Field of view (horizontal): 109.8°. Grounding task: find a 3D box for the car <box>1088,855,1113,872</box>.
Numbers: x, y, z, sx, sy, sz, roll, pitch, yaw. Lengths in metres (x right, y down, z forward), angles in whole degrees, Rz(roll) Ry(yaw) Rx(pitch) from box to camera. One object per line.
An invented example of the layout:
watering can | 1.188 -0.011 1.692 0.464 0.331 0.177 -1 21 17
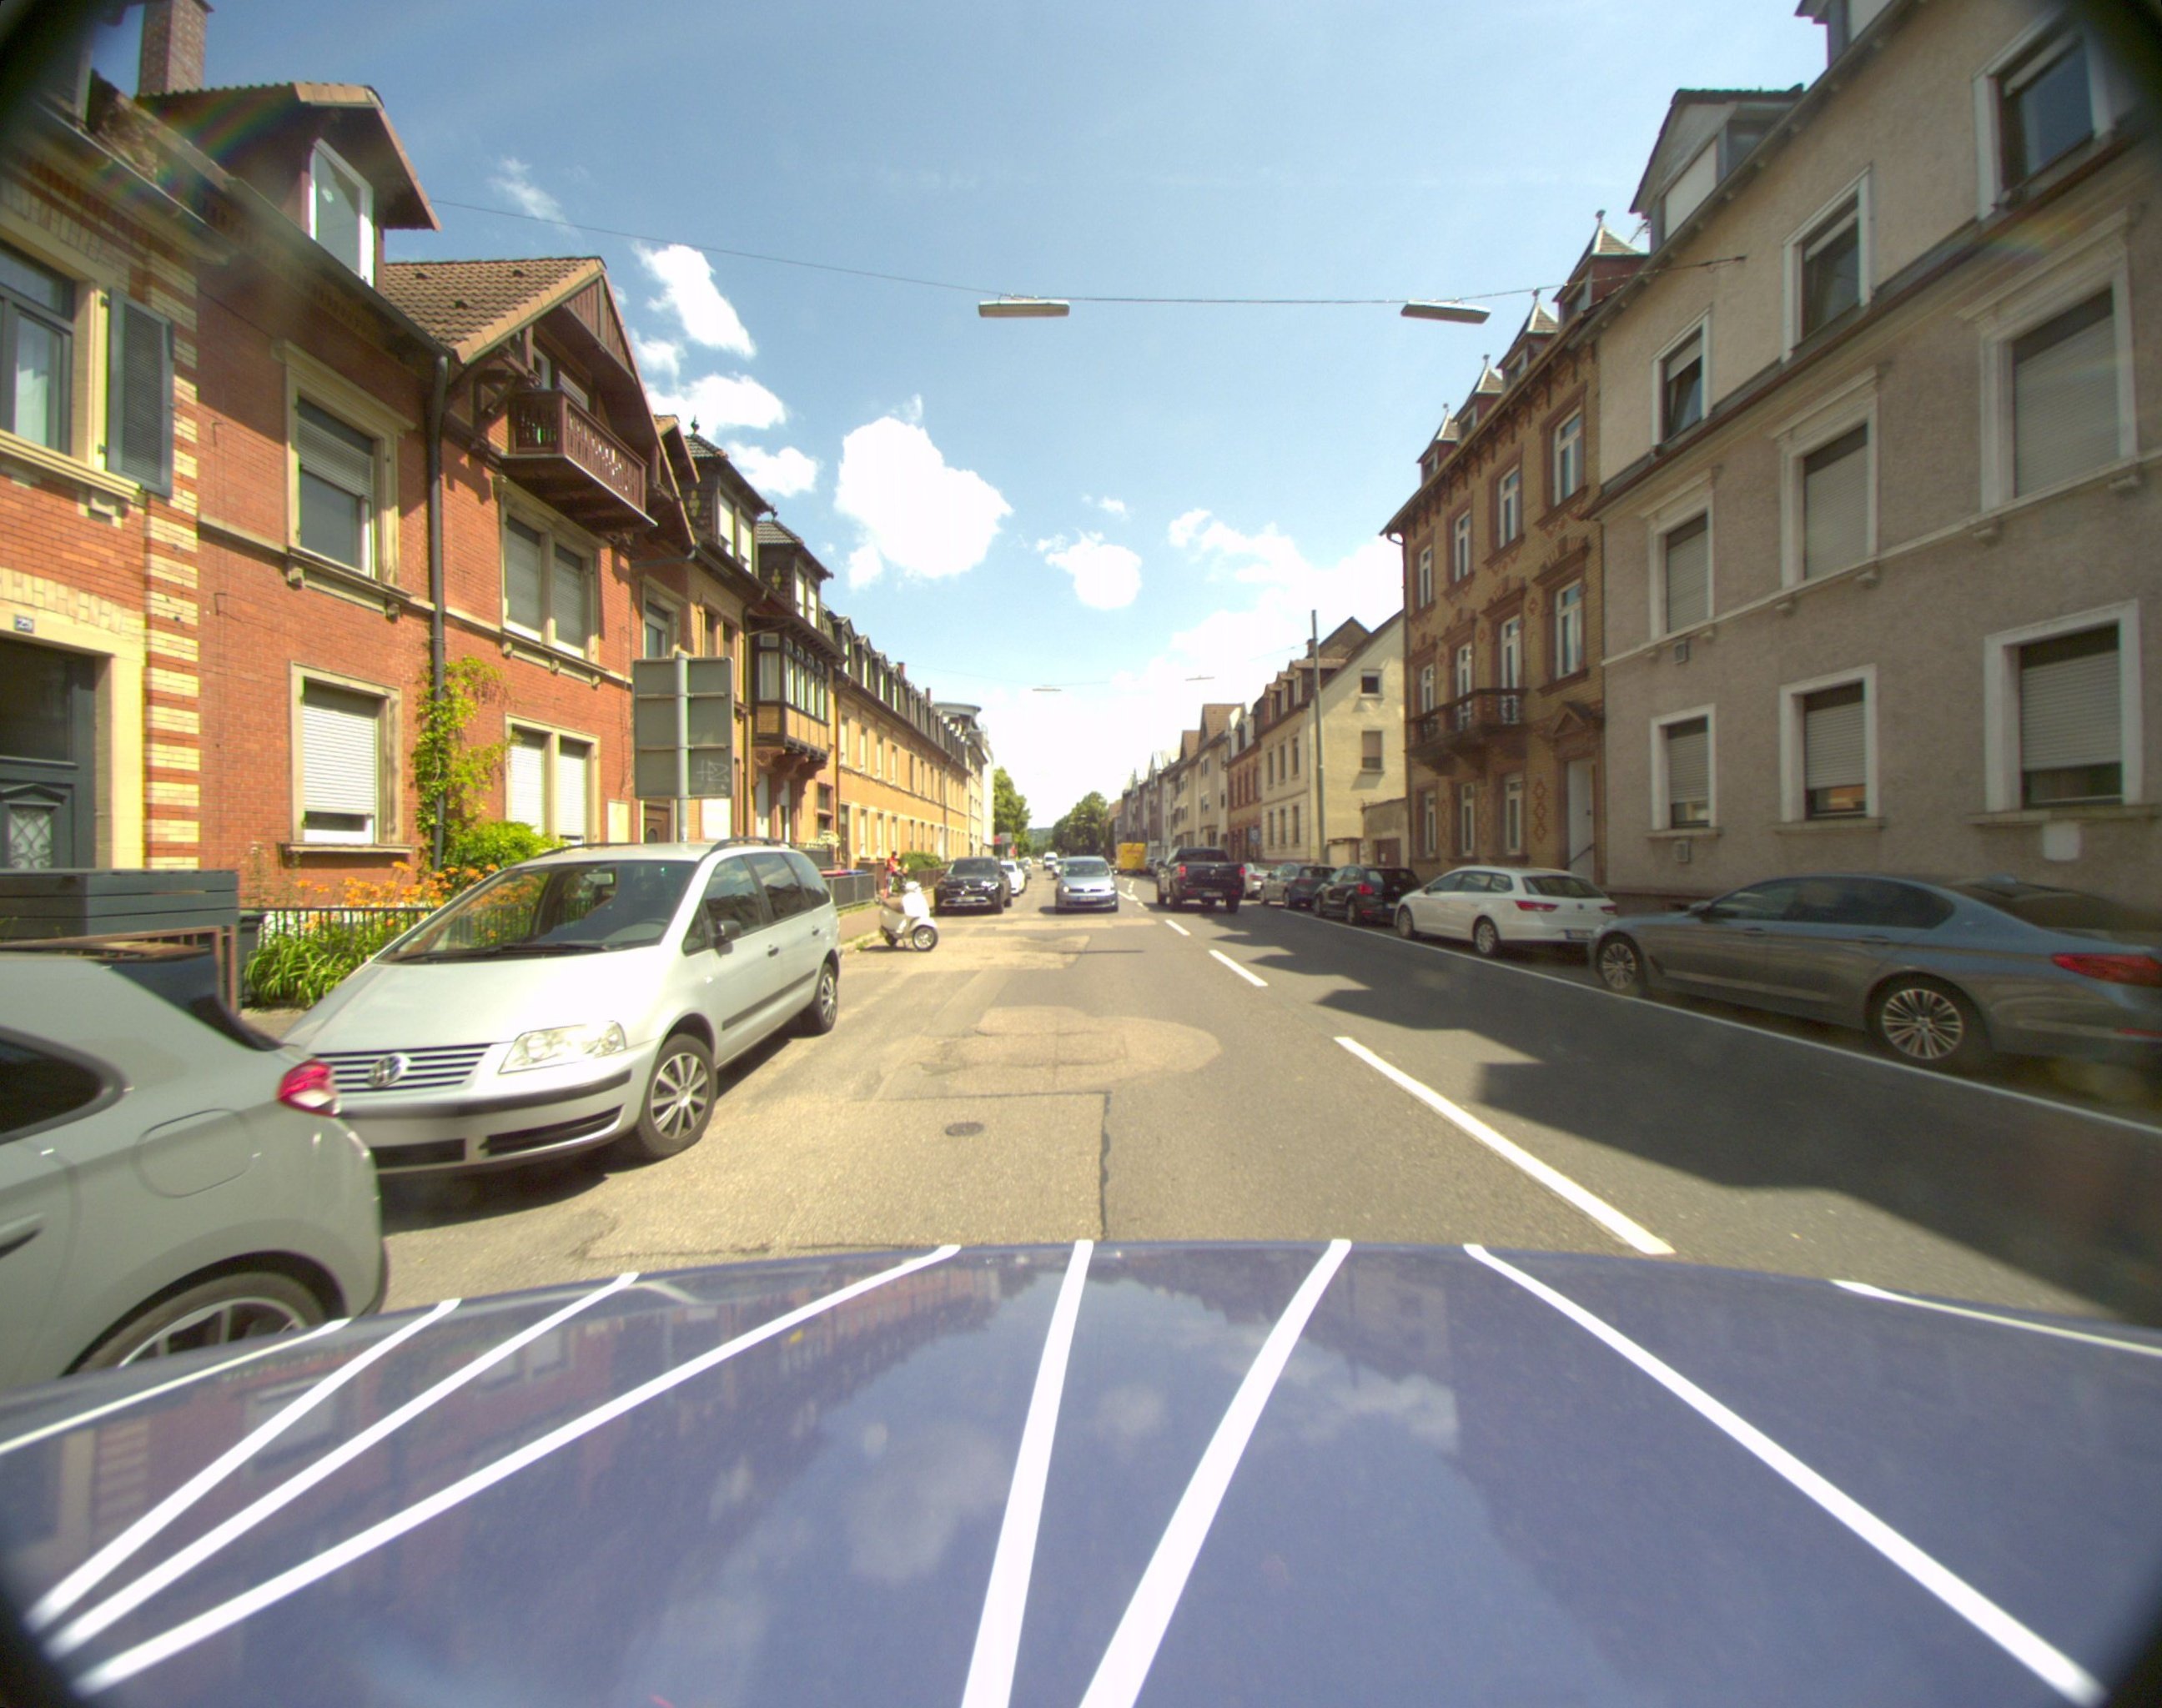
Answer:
car | 1.699 0.805 66.281 1.795 1.412 4.313 1 0 -3

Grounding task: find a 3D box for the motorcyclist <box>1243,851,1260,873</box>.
motorcyclist | 9.478 0.447 42.238 0.720 1.241 0.712 0 1 -2

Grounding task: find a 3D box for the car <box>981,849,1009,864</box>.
car | -14.838 0.446 130.695 4.615 2.263 2.105 -2 1 -3

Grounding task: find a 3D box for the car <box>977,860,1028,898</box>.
car | -3.247 1.001 32.122 1.721 1.406 4.588 0 0 -1

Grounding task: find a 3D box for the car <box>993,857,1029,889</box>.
car | -3.553 0.914 38.027 1.653 1.406 4.498 -1 1 -7

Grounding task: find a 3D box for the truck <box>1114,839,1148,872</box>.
truck | 4.421 0.148 68.178 2.231 2.755 7.561 1 0 -2

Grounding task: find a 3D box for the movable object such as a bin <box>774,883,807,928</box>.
movable object such as a bin | -6.289 1.100 16.465 0.482 0.935 0.526 0 1 0

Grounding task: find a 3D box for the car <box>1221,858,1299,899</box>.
car | 6.995 0.917 30.181 1.845 1.414 4.501 2 0 -2

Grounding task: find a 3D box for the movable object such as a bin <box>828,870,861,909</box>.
movable object such as a bin | -6.674 0.993 21.480 0.790 1.082 0.543 0 1 -4

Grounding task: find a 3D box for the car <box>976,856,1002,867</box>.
car | -13.227 1.065 109.134 3.775 1.657 1.662 0 0 -8

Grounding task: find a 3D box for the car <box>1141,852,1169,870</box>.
car | 6.880 0.620 70.712 1.845 1.586 4.384 -3 1 -4

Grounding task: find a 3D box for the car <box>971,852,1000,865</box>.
car | -13.339 0.613 106.457 3.999 1.740 2.015 -1 1 -5

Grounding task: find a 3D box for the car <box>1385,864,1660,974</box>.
car | 7.123 0.952 12.944 1.845 1.414 4.500 2 0 -3

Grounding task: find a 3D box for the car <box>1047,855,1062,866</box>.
car | -3.285 0.807 94.854 1.721 1.406 4.588 0 0 -1

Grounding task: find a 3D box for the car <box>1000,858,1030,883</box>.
car | -3.944 0.946 46.005 1.705 1.372 4.165 -1 1 -4

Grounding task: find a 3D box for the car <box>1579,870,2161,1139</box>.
car | 6.983 0.950 6.755 1.845 1.414 4.644 2 0 -3

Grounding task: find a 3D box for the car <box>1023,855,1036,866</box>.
car | -7.583 0.919 111.733 1.772 1.476 3.888 -1 1 -6

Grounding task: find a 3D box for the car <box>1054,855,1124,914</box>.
car | 0.131 0.814 22.309 1.747 1.513 4.221 0 0 -4

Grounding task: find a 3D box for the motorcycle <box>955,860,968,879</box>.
motorcycle | -7.734 0.988 49.207 0.597 1.218 1.361 0 1 -2

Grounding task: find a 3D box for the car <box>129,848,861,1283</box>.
car | -3.111 0.886 5.513 1.865 1.737 4.616 -2 0 -4

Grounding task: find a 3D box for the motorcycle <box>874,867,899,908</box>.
motorcycle | -6.018 1.020 23.573 0.441 1.230 1.358 1 0 -1

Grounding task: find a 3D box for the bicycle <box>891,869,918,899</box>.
bicycle | -6.577 1.095 28.399 0.595 1.060 1.882 0 0 -1

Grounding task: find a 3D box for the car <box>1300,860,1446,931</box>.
car | 7.104 0.935 19.032 1.844 1.414 4.502 3 0 0

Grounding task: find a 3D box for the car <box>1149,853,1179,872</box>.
car | 7.018 0.738 64.932 1.845 1.479 4.385 -2 1 -3

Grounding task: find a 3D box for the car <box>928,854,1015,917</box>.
car | -3.141 0.851 22.776 1.999 1.652 4.624 0 0 -1

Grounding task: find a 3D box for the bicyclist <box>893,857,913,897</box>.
bicyclist | -6.637 0.849 28.348 0.534 1.461 0.790 0 1 0

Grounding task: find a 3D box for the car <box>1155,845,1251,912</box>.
car | 3.498 0.647 22.753 1.999 1.782 5.147 0 0 -1

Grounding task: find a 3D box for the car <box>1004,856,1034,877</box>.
car | -4.662 0.912 56.687 1.860 1.455 4.546 -1 1 -9

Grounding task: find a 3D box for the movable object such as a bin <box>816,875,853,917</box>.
movable object such as a bin | -6.588 1.104 20.328 0.790 1.082 0.686 0 0 -4

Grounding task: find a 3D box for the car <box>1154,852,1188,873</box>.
car | 7.071 0.672 59.930 1.845 1.479 4.500 -3 1 -4

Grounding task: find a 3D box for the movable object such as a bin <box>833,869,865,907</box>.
movable object such as a bin | -6.720 0.984 22.055 0.790 1.082 0.539 0 1 -4

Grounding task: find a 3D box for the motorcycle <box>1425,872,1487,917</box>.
motorcycle | 9.707 1.017 19.741 0.715 1.047 1.936 -1 1 2

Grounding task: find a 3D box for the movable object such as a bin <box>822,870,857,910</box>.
movable object such as a bin | -6.640 0.980 20.897 0.790 1.082 0.553 0 1 -4

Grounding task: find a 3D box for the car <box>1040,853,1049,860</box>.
car | -7.802 0.553 163.645 1.721 1.406 4.588 0 0 -1

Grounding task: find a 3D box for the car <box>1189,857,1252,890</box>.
car | 6.602 0.890 36.466 1.845 1.414 4.500 2 0 -5

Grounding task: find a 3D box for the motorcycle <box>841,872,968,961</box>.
motorcycle | -3.077 1.027 13.188 1.990 1.377 1.115 -1 1 37

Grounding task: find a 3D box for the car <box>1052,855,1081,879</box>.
car | -1.040 0.881 54.490 1.999 1.652 4.624 0 0 -1

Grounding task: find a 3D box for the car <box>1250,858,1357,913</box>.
car | 7.018 0.943 24.451 1.845 1.414 4.500 4 0 -3

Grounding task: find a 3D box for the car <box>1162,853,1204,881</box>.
car | 6.301 0.763 47.246 1.845 1.587 4.501 2 0 -2
